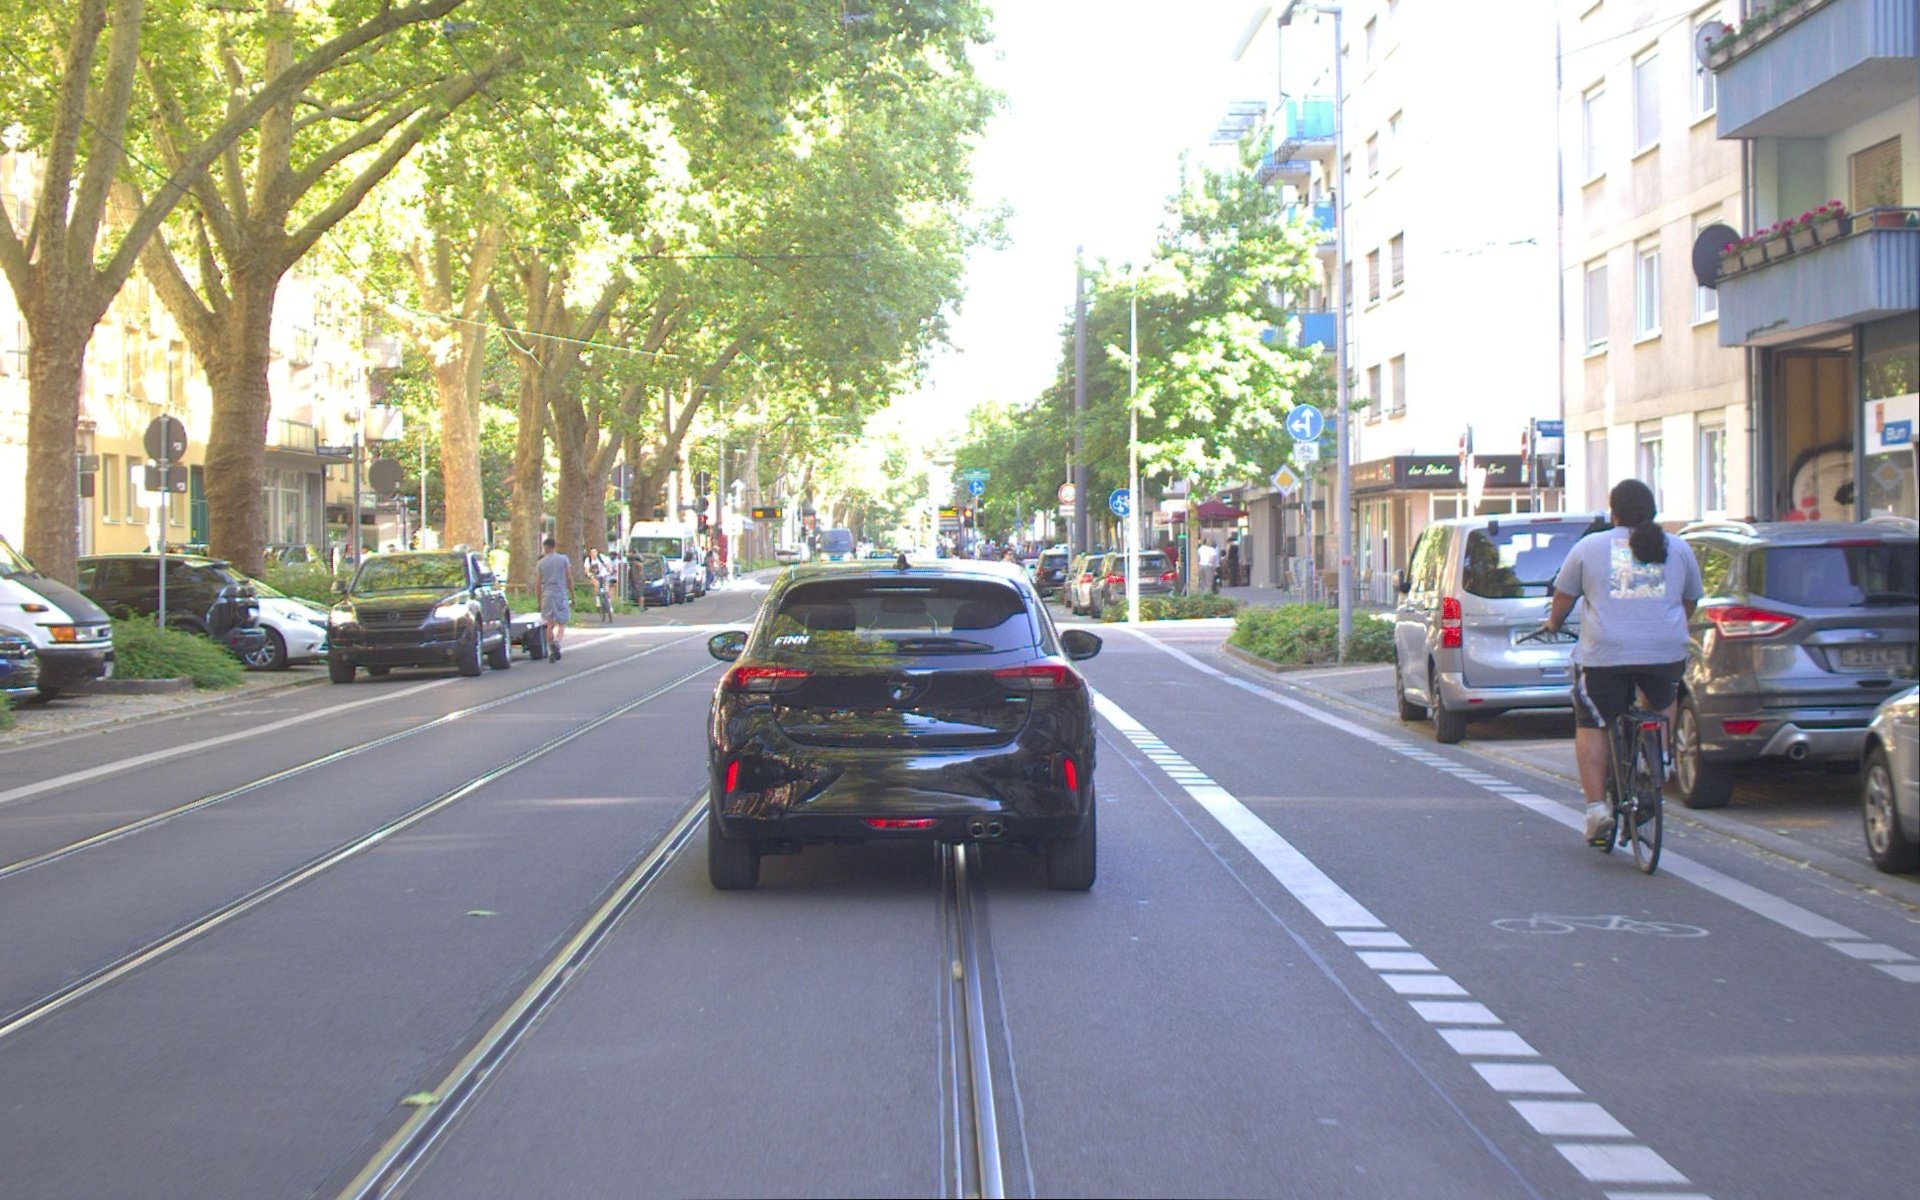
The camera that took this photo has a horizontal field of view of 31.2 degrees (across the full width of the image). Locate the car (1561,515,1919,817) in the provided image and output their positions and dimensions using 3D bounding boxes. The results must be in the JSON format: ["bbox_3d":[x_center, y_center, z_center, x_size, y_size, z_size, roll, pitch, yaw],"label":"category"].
[{"bbox_3d":[5.075,0.335,21.571,1.766,1.699,4.283,-1,1,-1],"label":"car"}]

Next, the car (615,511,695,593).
[{"bbox_3d":[-9.905,-1.566,112.064,2.092,2.575,5.997,-1,1,-1],"label":"car"}]

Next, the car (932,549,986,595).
[{"bbox_3d":[-0.018,-1.040,125.845,1.858,1.646,4.000,-1,1,1],"label":"car"}]

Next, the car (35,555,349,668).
[{"bbox_3d":[-10.666,0.144,47.914,3.986,1.516,1.771,0,1,-1],"label":"car"}]

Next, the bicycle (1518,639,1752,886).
[{"bbox_3d":[3.275,0.760,16.849,0.701,1.088,1.990,1,0,-1],"label":"bicycle"}]

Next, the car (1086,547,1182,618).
[{"bbox_3d":[4.021,-0.428,79.795,1.718,1.568,4.085,-1,1,-4],"label":"car"}]

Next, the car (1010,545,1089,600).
[{"bbox_3d":[2.696,-0.850,104.240,1.993,1.634,4.001,-1,1,-4],"label":"car"}]

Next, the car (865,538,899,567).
[{"bbox_3d":[-4.471,-2.736,196.827,1.750,1.646,4.000,-1,1,1],"label":"car"}]

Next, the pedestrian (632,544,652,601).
[{"bbox_3d":[-8.896,-0.766,96.173,0.506,1.577,0.527,-1,1,-1],"label":"pedestrian"}]

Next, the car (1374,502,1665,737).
[{"bbox_3d":[4.829,0.119,30.317,1.858,1.883,4.924,-1,1,1],"label":"car"}]

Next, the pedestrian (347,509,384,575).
[{"bbox_3d":[-14.817,-1.446,85.700,0.846,1.627,0.644,-1,1,-6],"label":"pedestrian"}]

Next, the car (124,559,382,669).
[{"bbox_3d":[-10.218,0.186,49.873,3.430,1.525,1.787,-1,1,-3],"label":"car"}]

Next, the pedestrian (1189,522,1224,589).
[{"bbox_3d":[6.454,-1.164,90.060,0.768,1.742,0.795,0,1,14],"label":"pedestrian"}]

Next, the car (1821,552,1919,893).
[{"bbox_3d":[5.151,0.553,15.028,1.724,1.520,4.513,-1,1,1],"label":"car"}]

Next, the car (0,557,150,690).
[{"bbox_3d":[-11.432,0.260,39.409,3.854,1.473,1.861,-1,1,-1],"label":"car"}]

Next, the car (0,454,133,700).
[{"bbox_3d":[-11.552,-0.239,36.764,4.943,2.559,2.083,-1,1,-3],"label":"car"}]

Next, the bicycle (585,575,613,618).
[{"bbox_3d":[-8.417,-0.084,80.177,0.520,0.959,1.929,-1,1,-2],"label":"bicycle"}]

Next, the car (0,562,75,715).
[{"bbox_3d":[-11.041,0.367,34.111,4.019,1.461,1.872,0,1,1],"label":"car"}]

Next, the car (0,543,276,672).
[{"bbox_3d":[-11.175,0.086,45.225,3.986,1.641,1.894,0,1,-1],"label":"car"}]

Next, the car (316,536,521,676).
[{"bbox_3d":[-7.108,0.035,45.564,1.993,1.694,4.485,-2,1,0],"label":"car"}]

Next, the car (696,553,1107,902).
[{"bbox_3d":[-0.268,0.508,16.046,1.679,1.418,3.628,1,1,-1],"label":"car"}]

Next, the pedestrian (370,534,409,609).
[{"bbox_3d":[-14.414,-0.719,86.898,0.905,1.862,0.644,-1,1,-6],"label":"pedestrian"}]

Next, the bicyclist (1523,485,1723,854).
[{"bbox_3d":[3.236,0.327,16.844,0.786,1.753,0.915,0,1,-1],"label":"bicyclist"}]

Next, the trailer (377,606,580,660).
[{"bbox_3d":[-7.053,0.463,51.011,2.160,0.629,6.400,0,1,0],"label":"trailer"}]

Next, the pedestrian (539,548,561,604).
[{"bbox_3d":[-11.479,-0.672,96.215,0.506,1.577,0.527,-1,1,-17],"label":"pedestrian"}]

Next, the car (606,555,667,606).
[{"bbox_3d":[-9.954,-0.611,106.036,1.754,1.503,4.001,-1,1,-4],"label":"car"}]

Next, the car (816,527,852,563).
[{"bbox_3d":[-7.845,-3.429,213.850,1.993,2.204,5.103,-1,1,-4],"label":"car"}]

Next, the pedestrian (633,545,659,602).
[{"bbox_3d":[-8.849,-0.753,96.819,0.683,1.577,0.557,-1,1,-2],"label":"pedestrian"}]

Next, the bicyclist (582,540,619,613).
[{"bbox_3d":[-8.364,-0.558,80.043,0.784,1.672,0.957,-1,1,-2],"label":"bicyclist"}]

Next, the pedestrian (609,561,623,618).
[{"bbox_3d":[-9.633,-0.288,96.303,0.346,1.577,0.508,-1,1,-2],"label":"pedestrian"}]

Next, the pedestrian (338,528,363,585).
[{"bbox_3d":[-17.491,-1.253,98.674,0.552,1.646,0.649,-1,1,3],"label":"pedestrian"}]

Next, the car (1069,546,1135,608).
[{"bbox_3d":[3.680,-0.608,89.386,1.651,1.568,3.083,-1,1,1],"label":"car"}]

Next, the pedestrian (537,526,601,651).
[{"bbox_3d":[-5.548,-0.165,48.796,0.711,1.729,0.913,-2,1,3],"label":"pedestrian"}]

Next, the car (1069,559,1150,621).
[{"bbox_3d":[3.690,-0.269,85.349,1.718,1.485,3.682,-1,1,-2],"label":"car"}]
